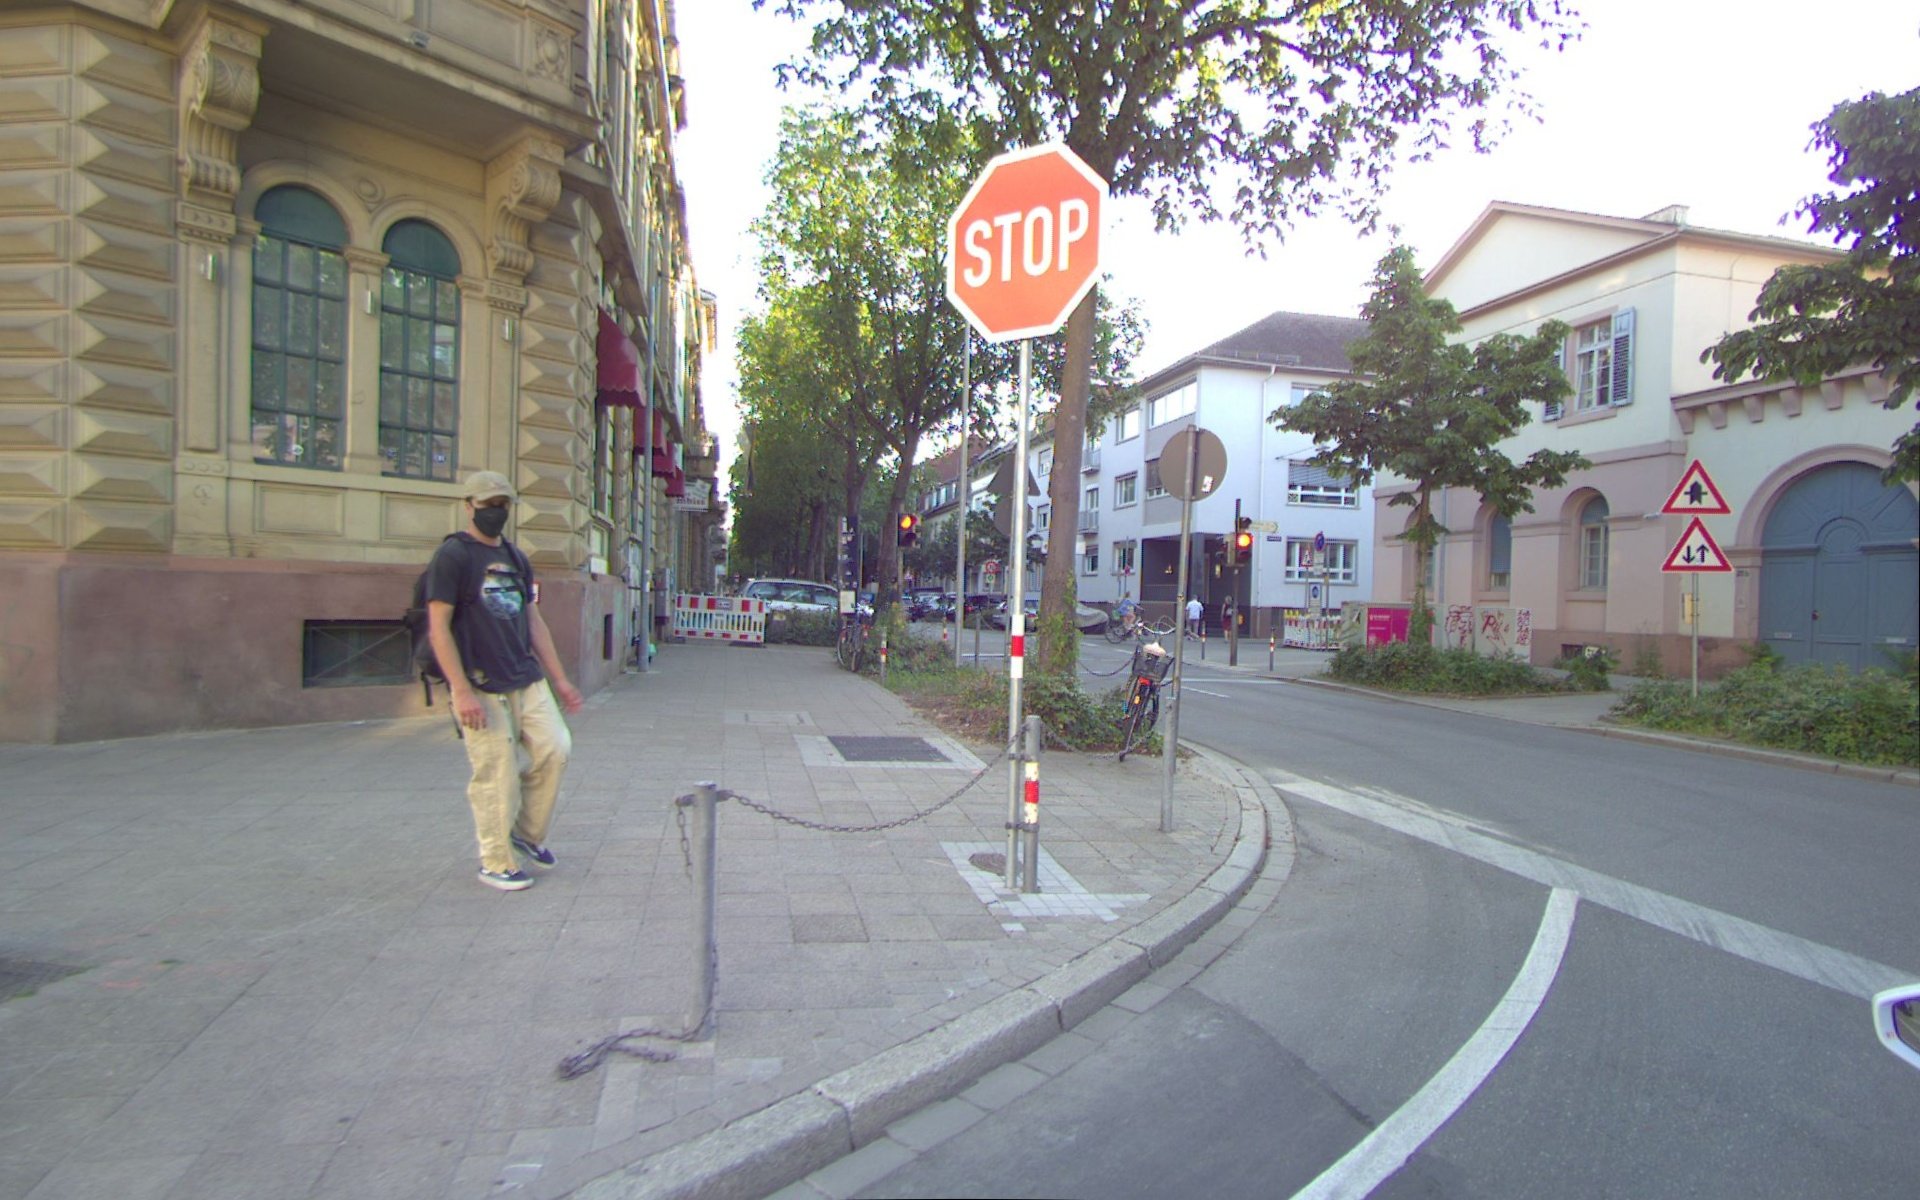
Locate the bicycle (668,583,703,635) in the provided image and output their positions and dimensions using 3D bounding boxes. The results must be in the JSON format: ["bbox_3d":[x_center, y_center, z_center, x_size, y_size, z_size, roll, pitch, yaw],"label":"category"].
[{"bbox_3d":[-6.747,0.188,24.794,0.627,1.218,2.558,1,1,-11],"label":"bicycle"}]

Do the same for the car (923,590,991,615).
[{"bbox_3d":[-0.202,0.162,62.227,3.958,1.428,1.702,1,1,-13],"label":"car"}]

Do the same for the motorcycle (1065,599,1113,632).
[{"bbox_3d":[5.071,0.606,39.447,1.771,1.215,0.612,1,1,-4],"label":"motorcycle"}]

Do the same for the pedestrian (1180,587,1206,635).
[{"bbox_3d":[8.774,0.418,37.848,0.693,1.775,0.698,2,1,-9],"label":"pedestrian"}]

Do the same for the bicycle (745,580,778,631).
[{"bbox_3d":[-5.087,0.118,25.699,0.724,1.202,2.628,3,0,-12],"label":"bicycle"}]

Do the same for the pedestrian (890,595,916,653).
[{"bbox_3d":[-1.356,0.565,23.803,0.531,1.353,0.505,2,1,-8],"label":"pedestrian"}]

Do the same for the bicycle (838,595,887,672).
[{"bbox_3d":[-1.686,0.533,17.153,0.503,1.169,2.096,3,1,-13],"label":"bicycle"}]

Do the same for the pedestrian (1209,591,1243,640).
[{"bbox_3d":[9.873,0.567,37.336,0.916,1.775,0.770,2,1,-8],"label":"pedestrian"}]

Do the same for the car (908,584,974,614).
[{"bbox_3d":[-1.220,-0.061,64.345,3.958,1.839,1.702,1,1,-13],"label":"car"}]

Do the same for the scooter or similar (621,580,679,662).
[{"bbox_3d":[-4.737,0.310,15.411,0.431,1.183,1.287,3,0,-1],"label":"scooter or similar"}]

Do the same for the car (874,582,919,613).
[{"bbox_3d":[-3.633,-0.160,56.952,1.800,1.582,4.016,3,0,-14],"label":"car"}]

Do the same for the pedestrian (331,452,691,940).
[{"bbox_3d":[-1.932,0.312,4.309,1.245,1.762,0.848,4,3,34],"label":"pedestrian"}]

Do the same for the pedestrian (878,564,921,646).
[{"bbox_3d":[-1.400,0.111,23.074,0.875,1.840,0.793,1,1,-8],"label":"pedestrian"}]

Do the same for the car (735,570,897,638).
[{"bbox_3d":[-4.259,0.116,29.450,4.487,1.859,1.827,1,1,-16],"label":"car"}]

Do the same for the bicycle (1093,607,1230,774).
[{"bbox_3d":[1.805,0.747,9.441,0.829,1.284,2.573,1,1,2],"label":"bicycle"}]

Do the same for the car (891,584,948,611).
[{"bbox_3d":[-2.997,-0.209,74.347,3.958,1.854,1.702,2,1,-13],"label":"car"}]

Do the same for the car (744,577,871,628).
[{"bbox_3d":[-5.610,0.080,36.867,4.483,1.711,1.828,1,1,-13],"label":"car"}]

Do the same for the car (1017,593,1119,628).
[{"bbox_3d":[4.555,0.431,42.632,3.958,1.360,1.703,1,1,-13],"label":"car"}]

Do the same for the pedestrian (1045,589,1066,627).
[{"bbox_3d":[4.903,0.395,51.513,0.756,1.866,0.941,2,1,-12],"label":"pedestrian"}]

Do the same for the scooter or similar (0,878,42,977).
[{"bbox_3d":[-3.461,1.063,3.078,0.871,0.210,0.415,1,2,-27],"label":"scooter or similar"}]

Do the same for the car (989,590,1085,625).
[{"bbox_3d":[3.452,0.345,45.051,3.958,1.461,1.702,1,1,-13],"label":"car"}]

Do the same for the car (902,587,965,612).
[{"bbox_3d":[-1.798,-0.030,67.170,3.958,1.550,1.702,2,1,-13],"label":"car"}]
